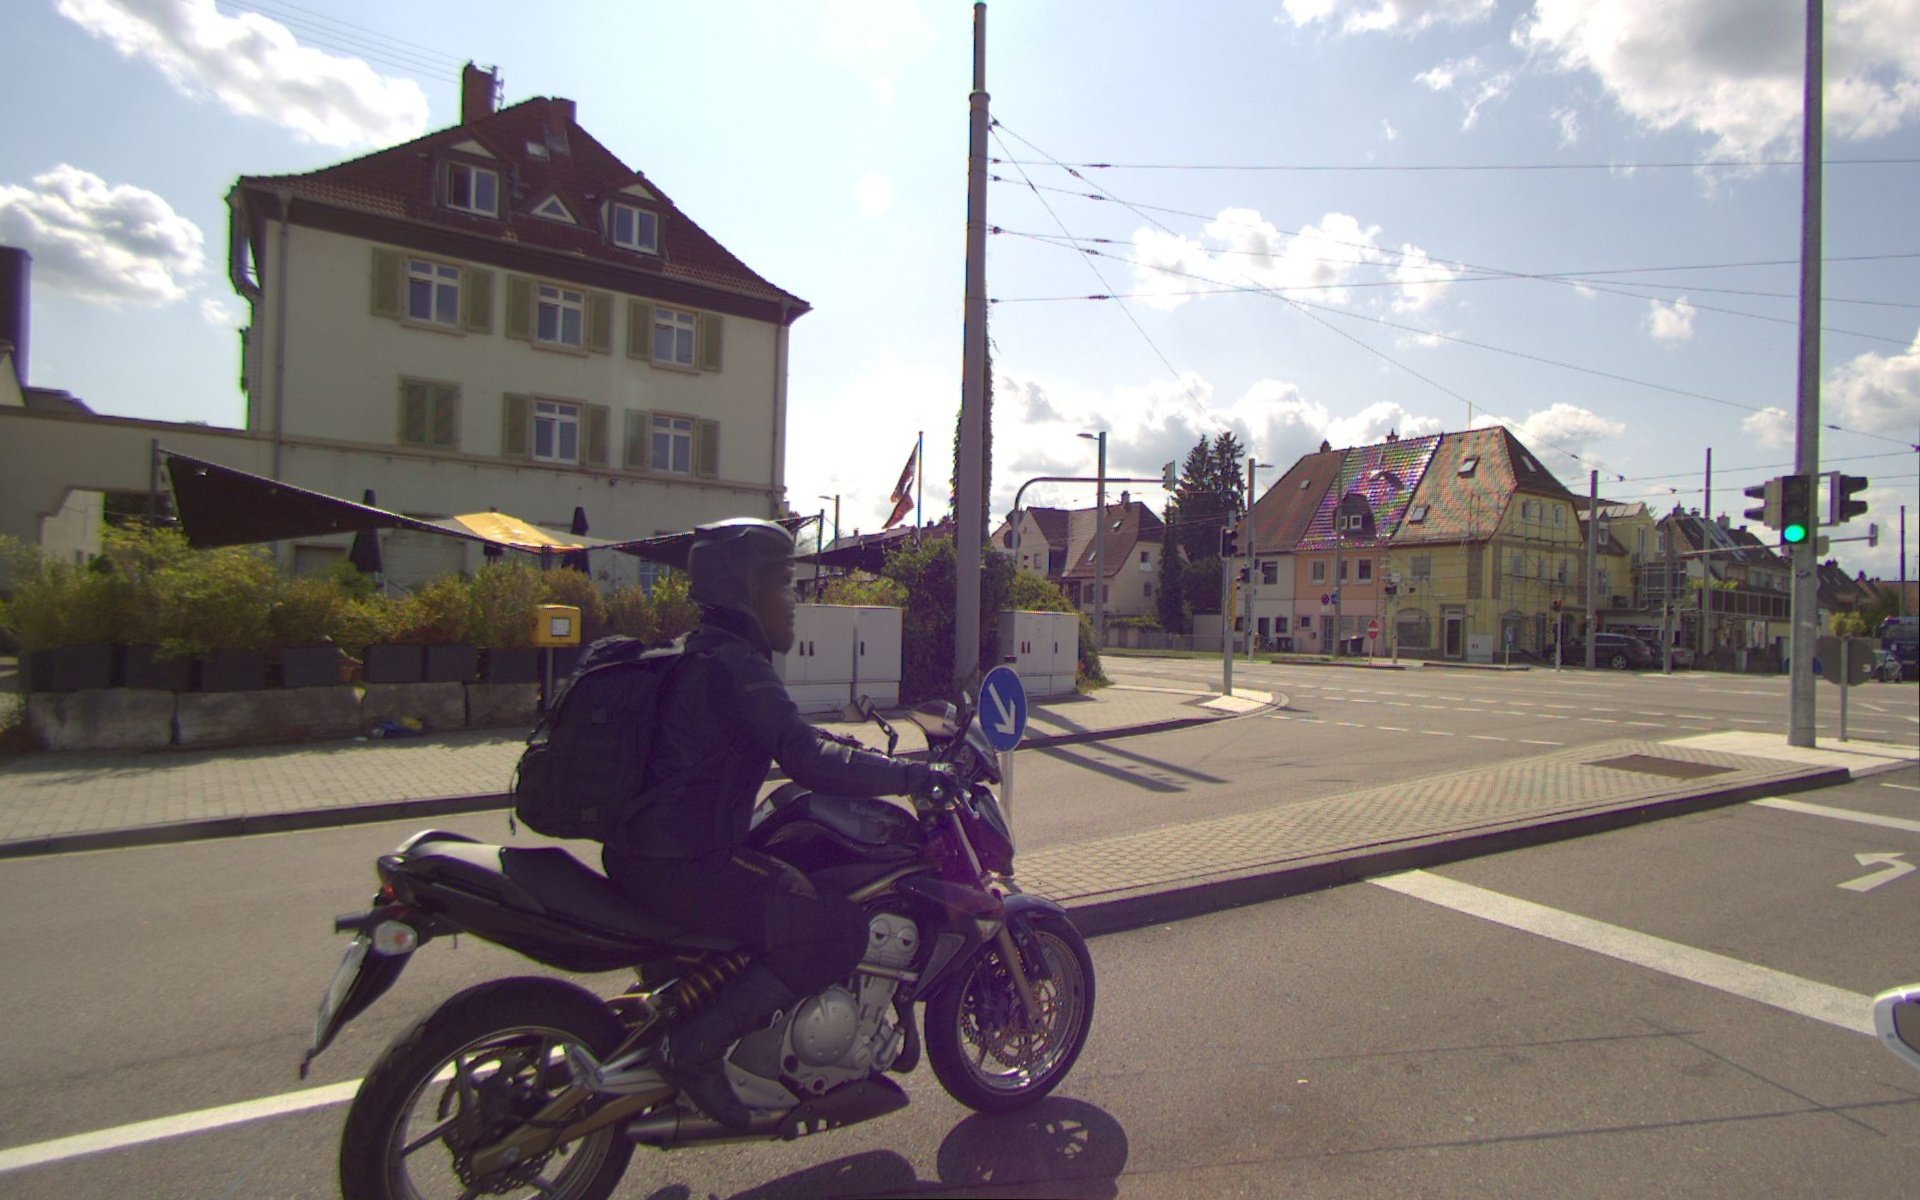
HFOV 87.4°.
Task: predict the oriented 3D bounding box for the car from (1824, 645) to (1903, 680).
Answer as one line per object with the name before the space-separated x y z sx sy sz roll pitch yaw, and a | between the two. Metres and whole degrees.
car | 41.542 2.871 46.158 4.292 1.506 1.816 3 -2 -35

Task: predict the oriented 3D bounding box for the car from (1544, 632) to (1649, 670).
car | 30.701 2.447 48.538 1.168 1.513 4.103 2 0 -37

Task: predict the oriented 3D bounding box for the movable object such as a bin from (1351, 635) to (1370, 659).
movable object such as a bin | 21.982 2.590 55.135 0.675 1.277 0.677 2 0 -33

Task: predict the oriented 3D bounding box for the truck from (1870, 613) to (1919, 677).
truck | 50.806 2.428 53.127 7.517 3.230 2.747 3 -2 -38

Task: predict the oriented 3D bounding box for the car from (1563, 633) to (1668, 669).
car | 32.760 2.526 50.277 1.493 1.513 4.103 2 0 -37

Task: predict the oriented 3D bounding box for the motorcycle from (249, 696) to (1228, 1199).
motorcycle | -0.347 0.884 2.582 2.340 1.142 0.834 2 -2 -41

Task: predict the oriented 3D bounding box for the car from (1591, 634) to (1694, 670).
car | 35.049 2.650 51.670 1.422 1.513 4.103 2 0 -37

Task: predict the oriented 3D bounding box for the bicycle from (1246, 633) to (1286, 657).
bicycle | 18.015 2.663 59.065 2.428 1.374 0.770 2 0 -29

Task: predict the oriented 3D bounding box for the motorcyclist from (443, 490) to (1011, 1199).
motorcyclist | -0.549 0.500 2.440 1.091 1.417 0.816 -1 2 -40

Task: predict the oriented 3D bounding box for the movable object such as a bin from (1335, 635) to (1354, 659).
movable object such as a bin | 20.855 2.547 54.448 0.675 1.277 0.677 2 0 -33
